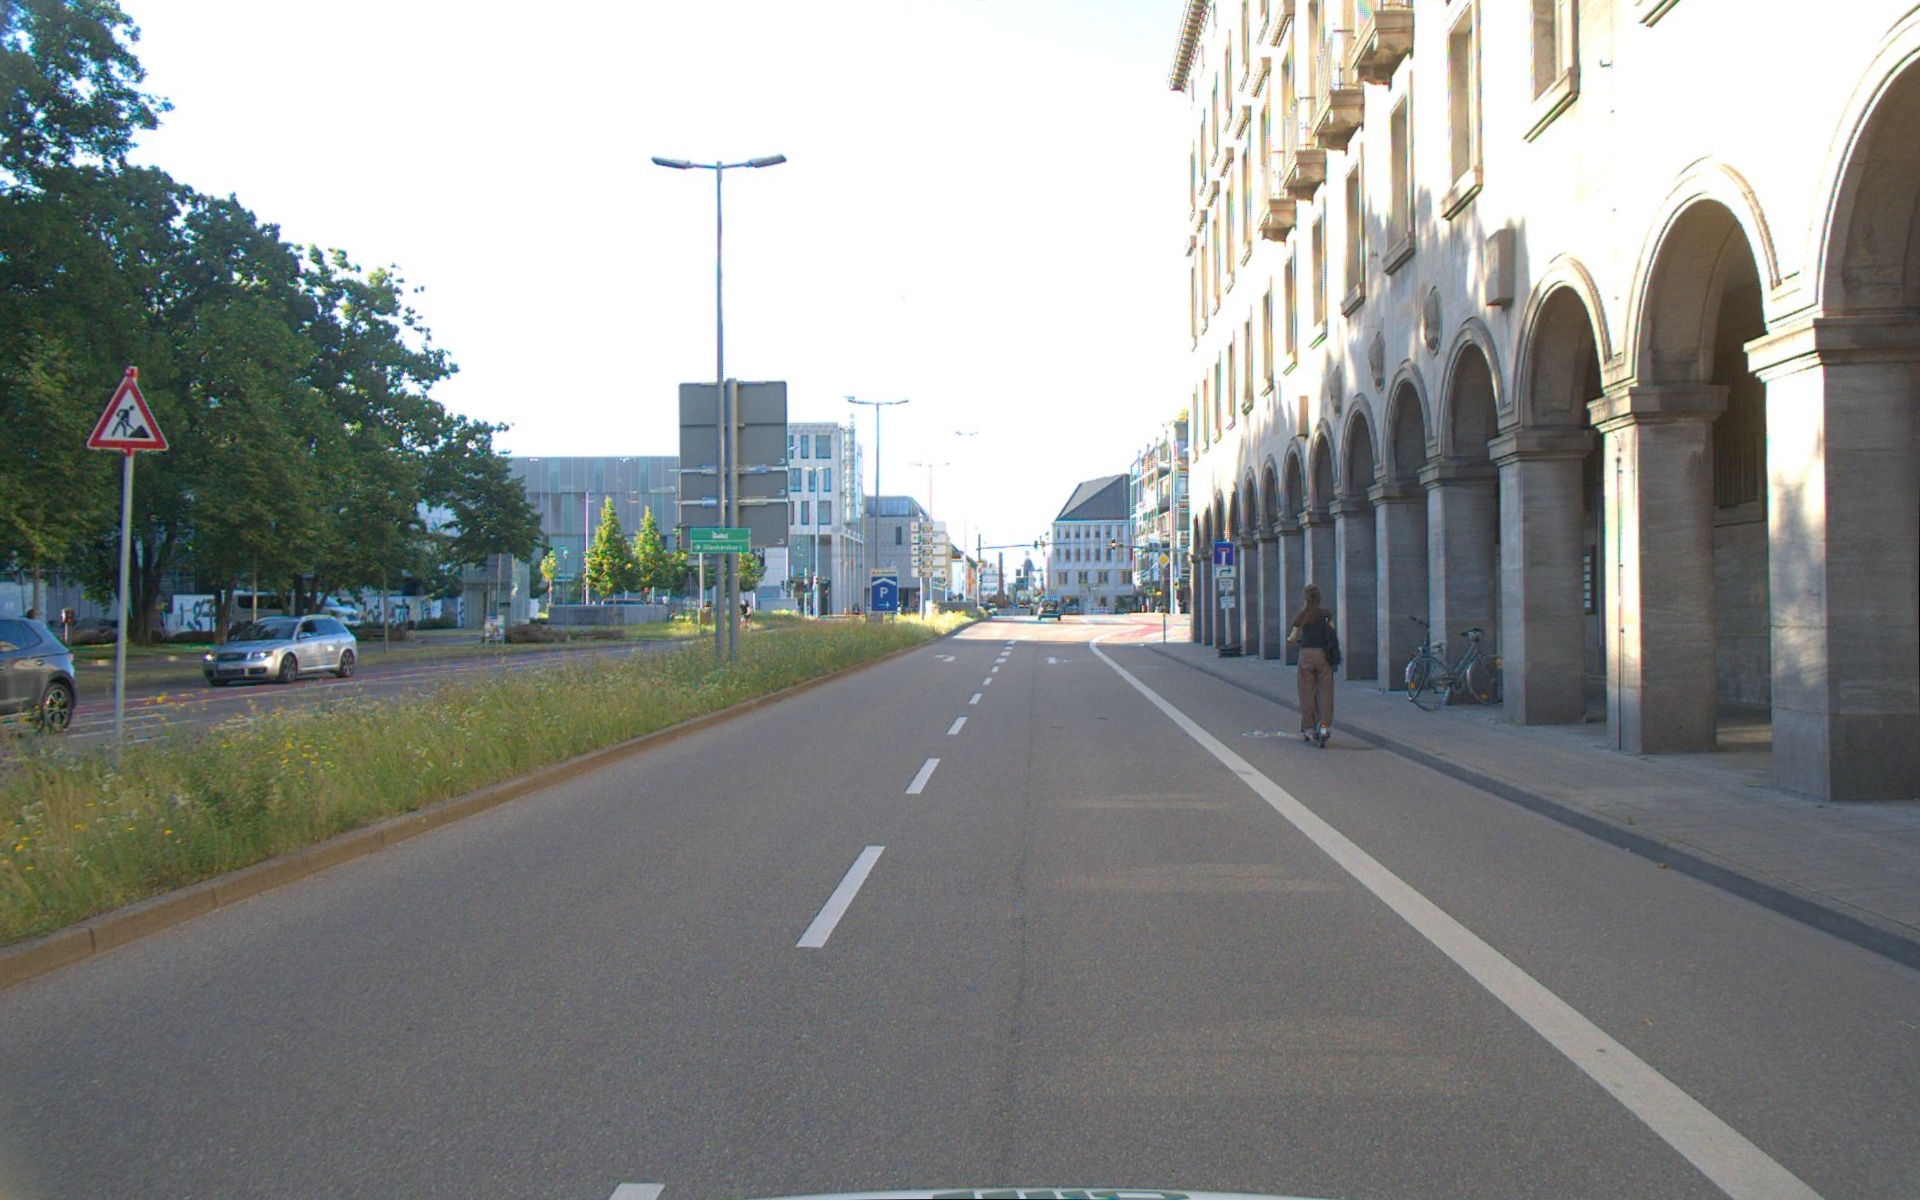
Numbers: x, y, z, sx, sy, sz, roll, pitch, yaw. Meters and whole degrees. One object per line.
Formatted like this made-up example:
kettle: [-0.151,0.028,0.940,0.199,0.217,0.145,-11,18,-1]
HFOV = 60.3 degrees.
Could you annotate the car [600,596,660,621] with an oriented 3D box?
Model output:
car: [-27.034,0.702,135.617,4.549,1.842,1.870,-1,-2,-5]

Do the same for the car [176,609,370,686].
car: [-15.091,0.999,36.647,1.892,1.553,4.591,-1,0,8]

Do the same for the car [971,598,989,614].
car: [2.317,0.696,191.165,1.952,1.773,4.648,0,1,3]

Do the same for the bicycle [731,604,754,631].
bicycle: [-11.055,0.882,84.116,0.742,1.297,2.260,0,1,4]

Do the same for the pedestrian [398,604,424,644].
pedestrian: [-21.918,0.951,66.014,0.599,1.554,0.943,-1,0,8]

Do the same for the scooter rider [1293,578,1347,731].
scooter rider: [4.002,0.599,18.403,0.549,1.660,0.650,-1,0,10]

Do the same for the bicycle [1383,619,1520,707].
bicycle: [6.536,0.825,22.013,1.678,1.069,0.526,-2,0,-12]

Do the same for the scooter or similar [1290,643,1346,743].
scooter or similar: [3.954,1.013,18.317,0.543,1.049,1.118,-1,0,10]

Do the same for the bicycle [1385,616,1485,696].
bicycle: [6.880,0.797,23.929,1.701,1.069,0.602,-2,0,-45]

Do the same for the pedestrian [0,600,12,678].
pedestrian: [-22.079,0.882,37.463,0.755,1.771,0.761,-1,0,6]

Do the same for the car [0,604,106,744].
car: [-11.834,0.850,18.819,1.952,1.592,4.062,-1,0,3]

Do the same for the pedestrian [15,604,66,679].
pedestrian: [-20.865,0.929,37.536,0.726,1.669,0.727,-1,0,6]

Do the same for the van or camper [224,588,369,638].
van or camper: [-29.366,0.586,73.285,5.544,2.049,2.258,-1,-2,4]

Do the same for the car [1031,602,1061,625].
car: [6.022,0.937,116.289,1.740,1.591,3.788,-1,0,-2]

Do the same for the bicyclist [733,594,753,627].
bicyclist: [-11.059,0.512,84.196,0.731,1.618,1.203,-1,1,4]
